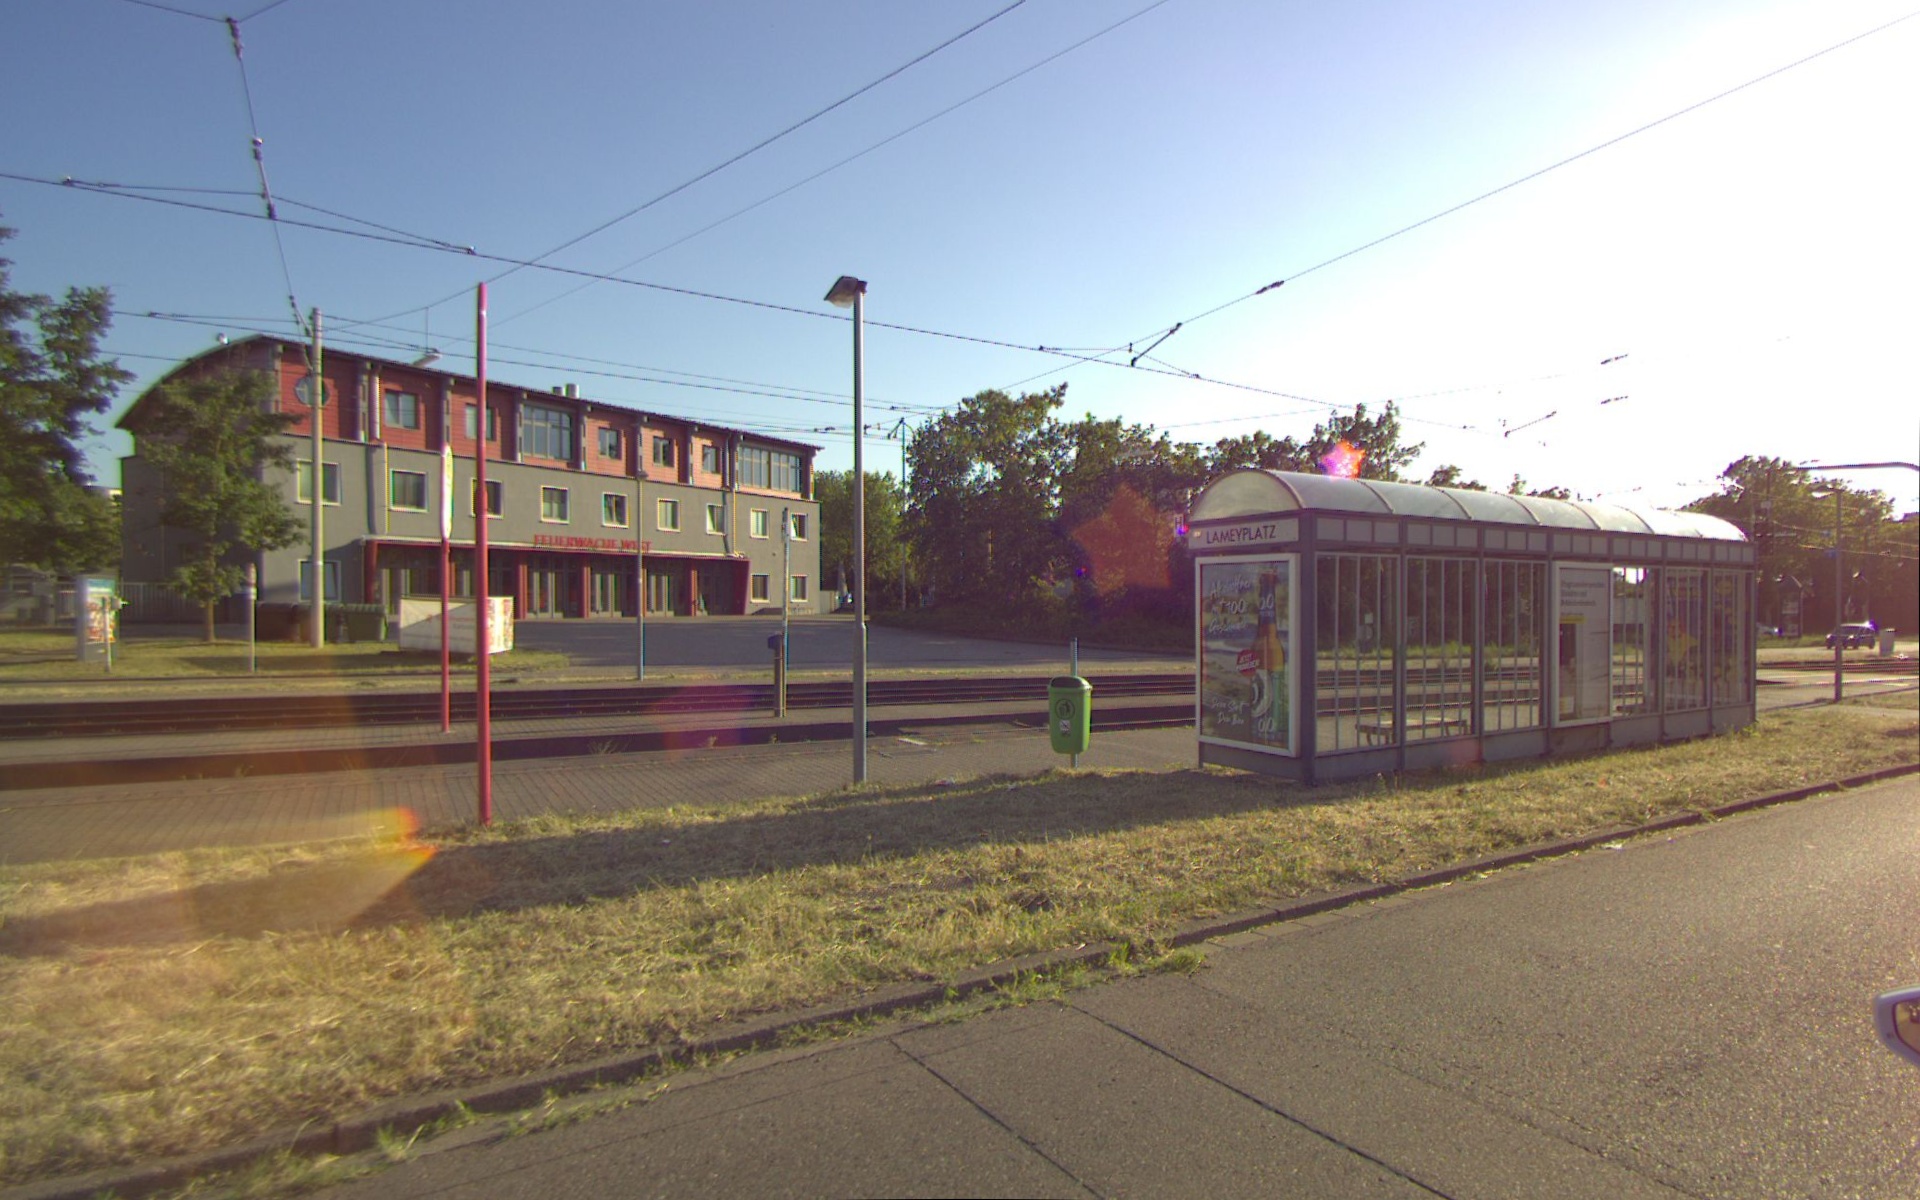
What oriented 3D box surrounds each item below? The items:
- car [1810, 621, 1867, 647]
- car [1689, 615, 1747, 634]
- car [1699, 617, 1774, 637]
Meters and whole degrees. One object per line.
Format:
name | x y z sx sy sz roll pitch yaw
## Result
car | 64.227 2.469 73.441 4.209 1.811 1.924 0 0 -30
car | 67.784 2.152 89.876 3.931 1.596 1.689 1 0 32
car | 70.873 2.446 91.772 5.278 1.596 1.735 1 0 35
